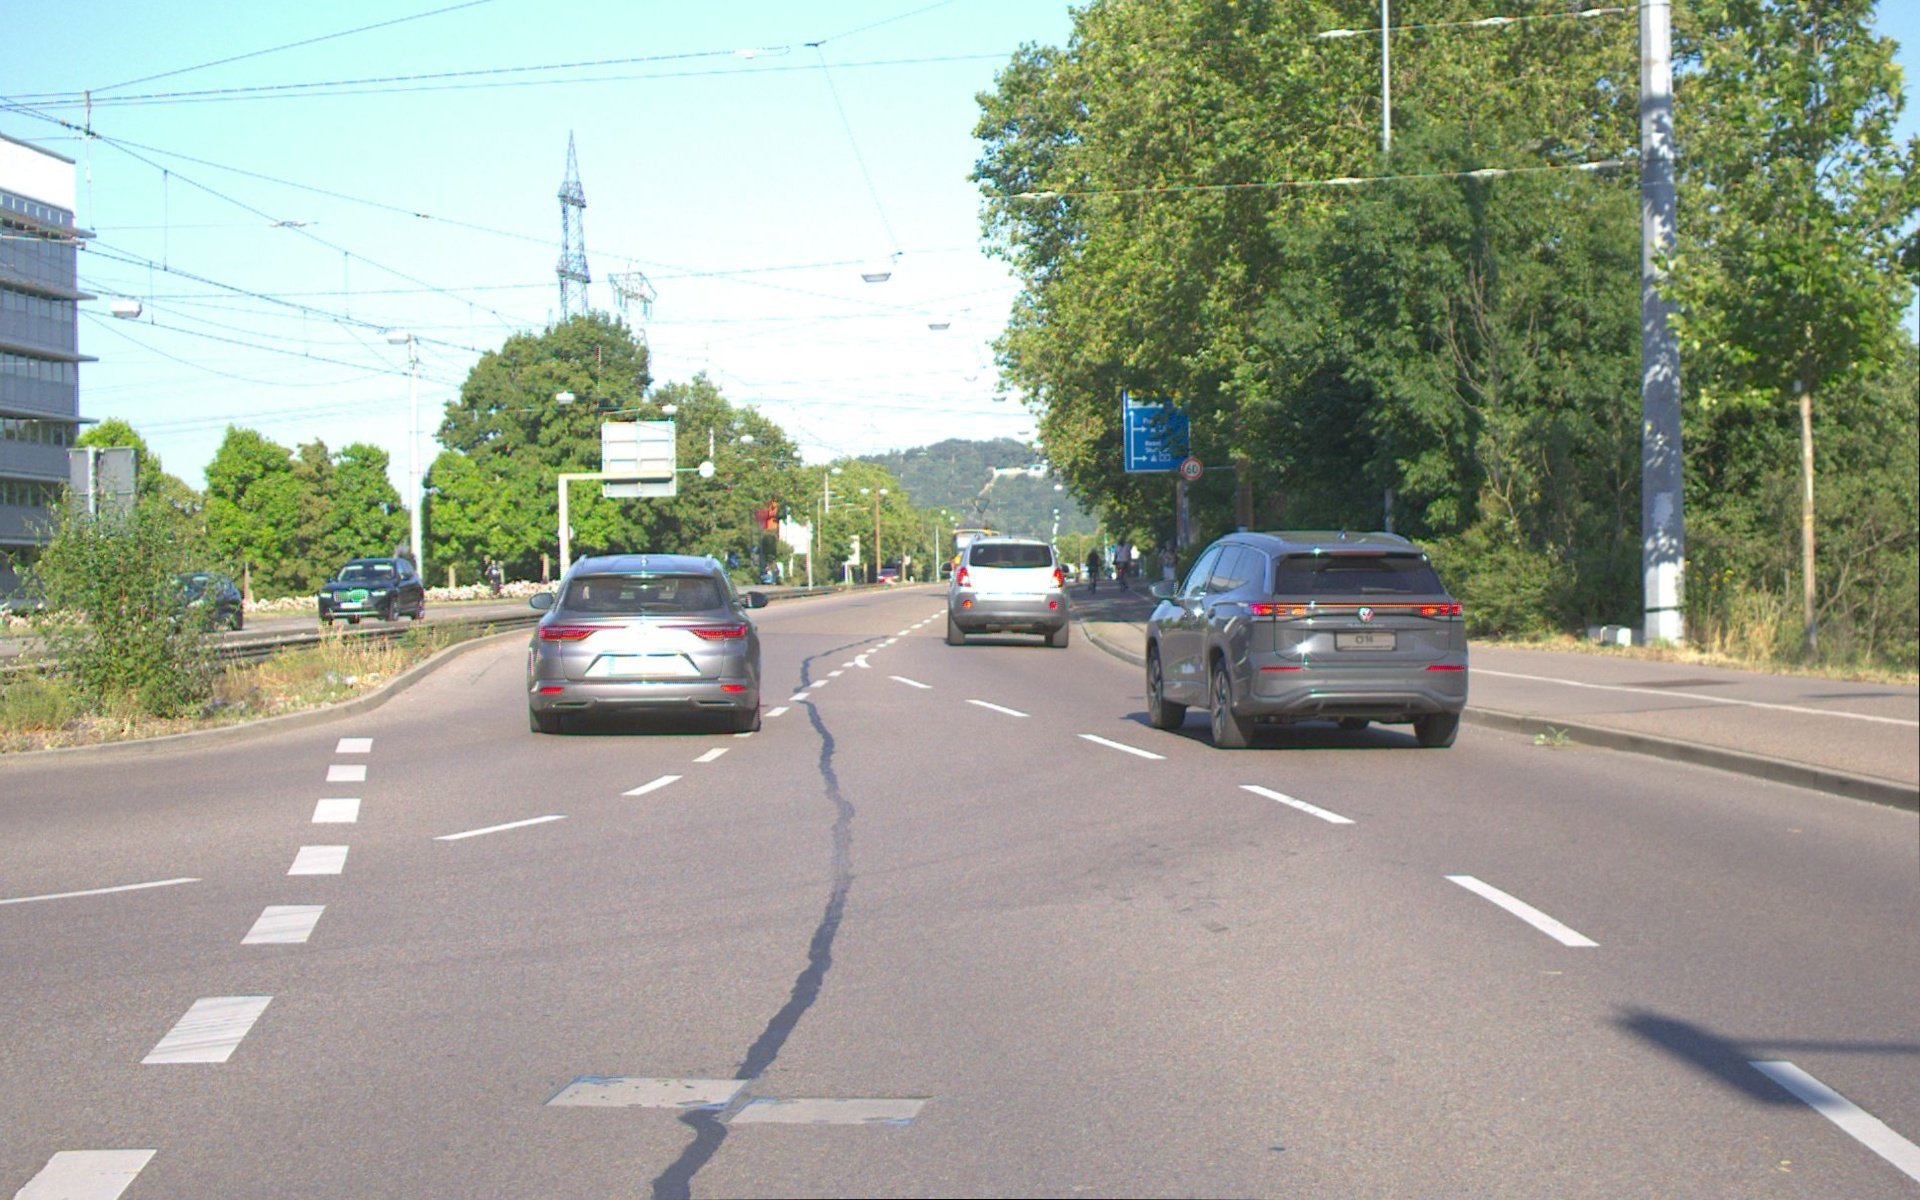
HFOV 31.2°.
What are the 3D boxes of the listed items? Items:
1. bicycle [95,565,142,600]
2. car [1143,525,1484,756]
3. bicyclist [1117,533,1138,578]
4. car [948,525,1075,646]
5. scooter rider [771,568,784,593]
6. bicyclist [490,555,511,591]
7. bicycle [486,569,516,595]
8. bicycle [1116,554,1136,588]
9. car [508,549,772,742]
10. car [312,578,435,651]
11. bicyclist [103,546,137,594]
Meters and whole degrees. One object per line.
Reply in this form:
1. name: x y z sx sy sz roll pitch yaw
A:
1. bicycle: -26.689 -0.570 109.083 0.705 1.069 2.026 1 1 10
2. car: 2.670 0.246 26.990 1.844 1.655 4.440 0 1 -5
3. bicyclist: 5.606 -1.497 115.183 0.685 1.503 0.890 0 1 3
4. car: 0.841 -0.263 53.932 1.883 1.789 4.000 1 1 2
5. scooter rider: -13.541 -1.463 255.016 0.682 1.842 1.000 -1 0 10
6. bicyclist: -20.569 -1.207 153.755 0.661 1.618 0.801 2 1 12
7. bicycle: -20.555 -0.818 153.869 0.661 1.147 2.021 2 1 12
8. bicycle: 5.560 -0.981 115.173 0.622 1.116 1.813 -2 1 2
9. car: -2.607 0.317 28.935 1.866 1.462 4.666 1 1 -1
10. car: -14.670 0.337 86.206 1.994 1.650 4.658 -2 1 3
11. bicyclist: -26.665 -0.961 109.157 0.705 1.507 0.970 1 1 10
